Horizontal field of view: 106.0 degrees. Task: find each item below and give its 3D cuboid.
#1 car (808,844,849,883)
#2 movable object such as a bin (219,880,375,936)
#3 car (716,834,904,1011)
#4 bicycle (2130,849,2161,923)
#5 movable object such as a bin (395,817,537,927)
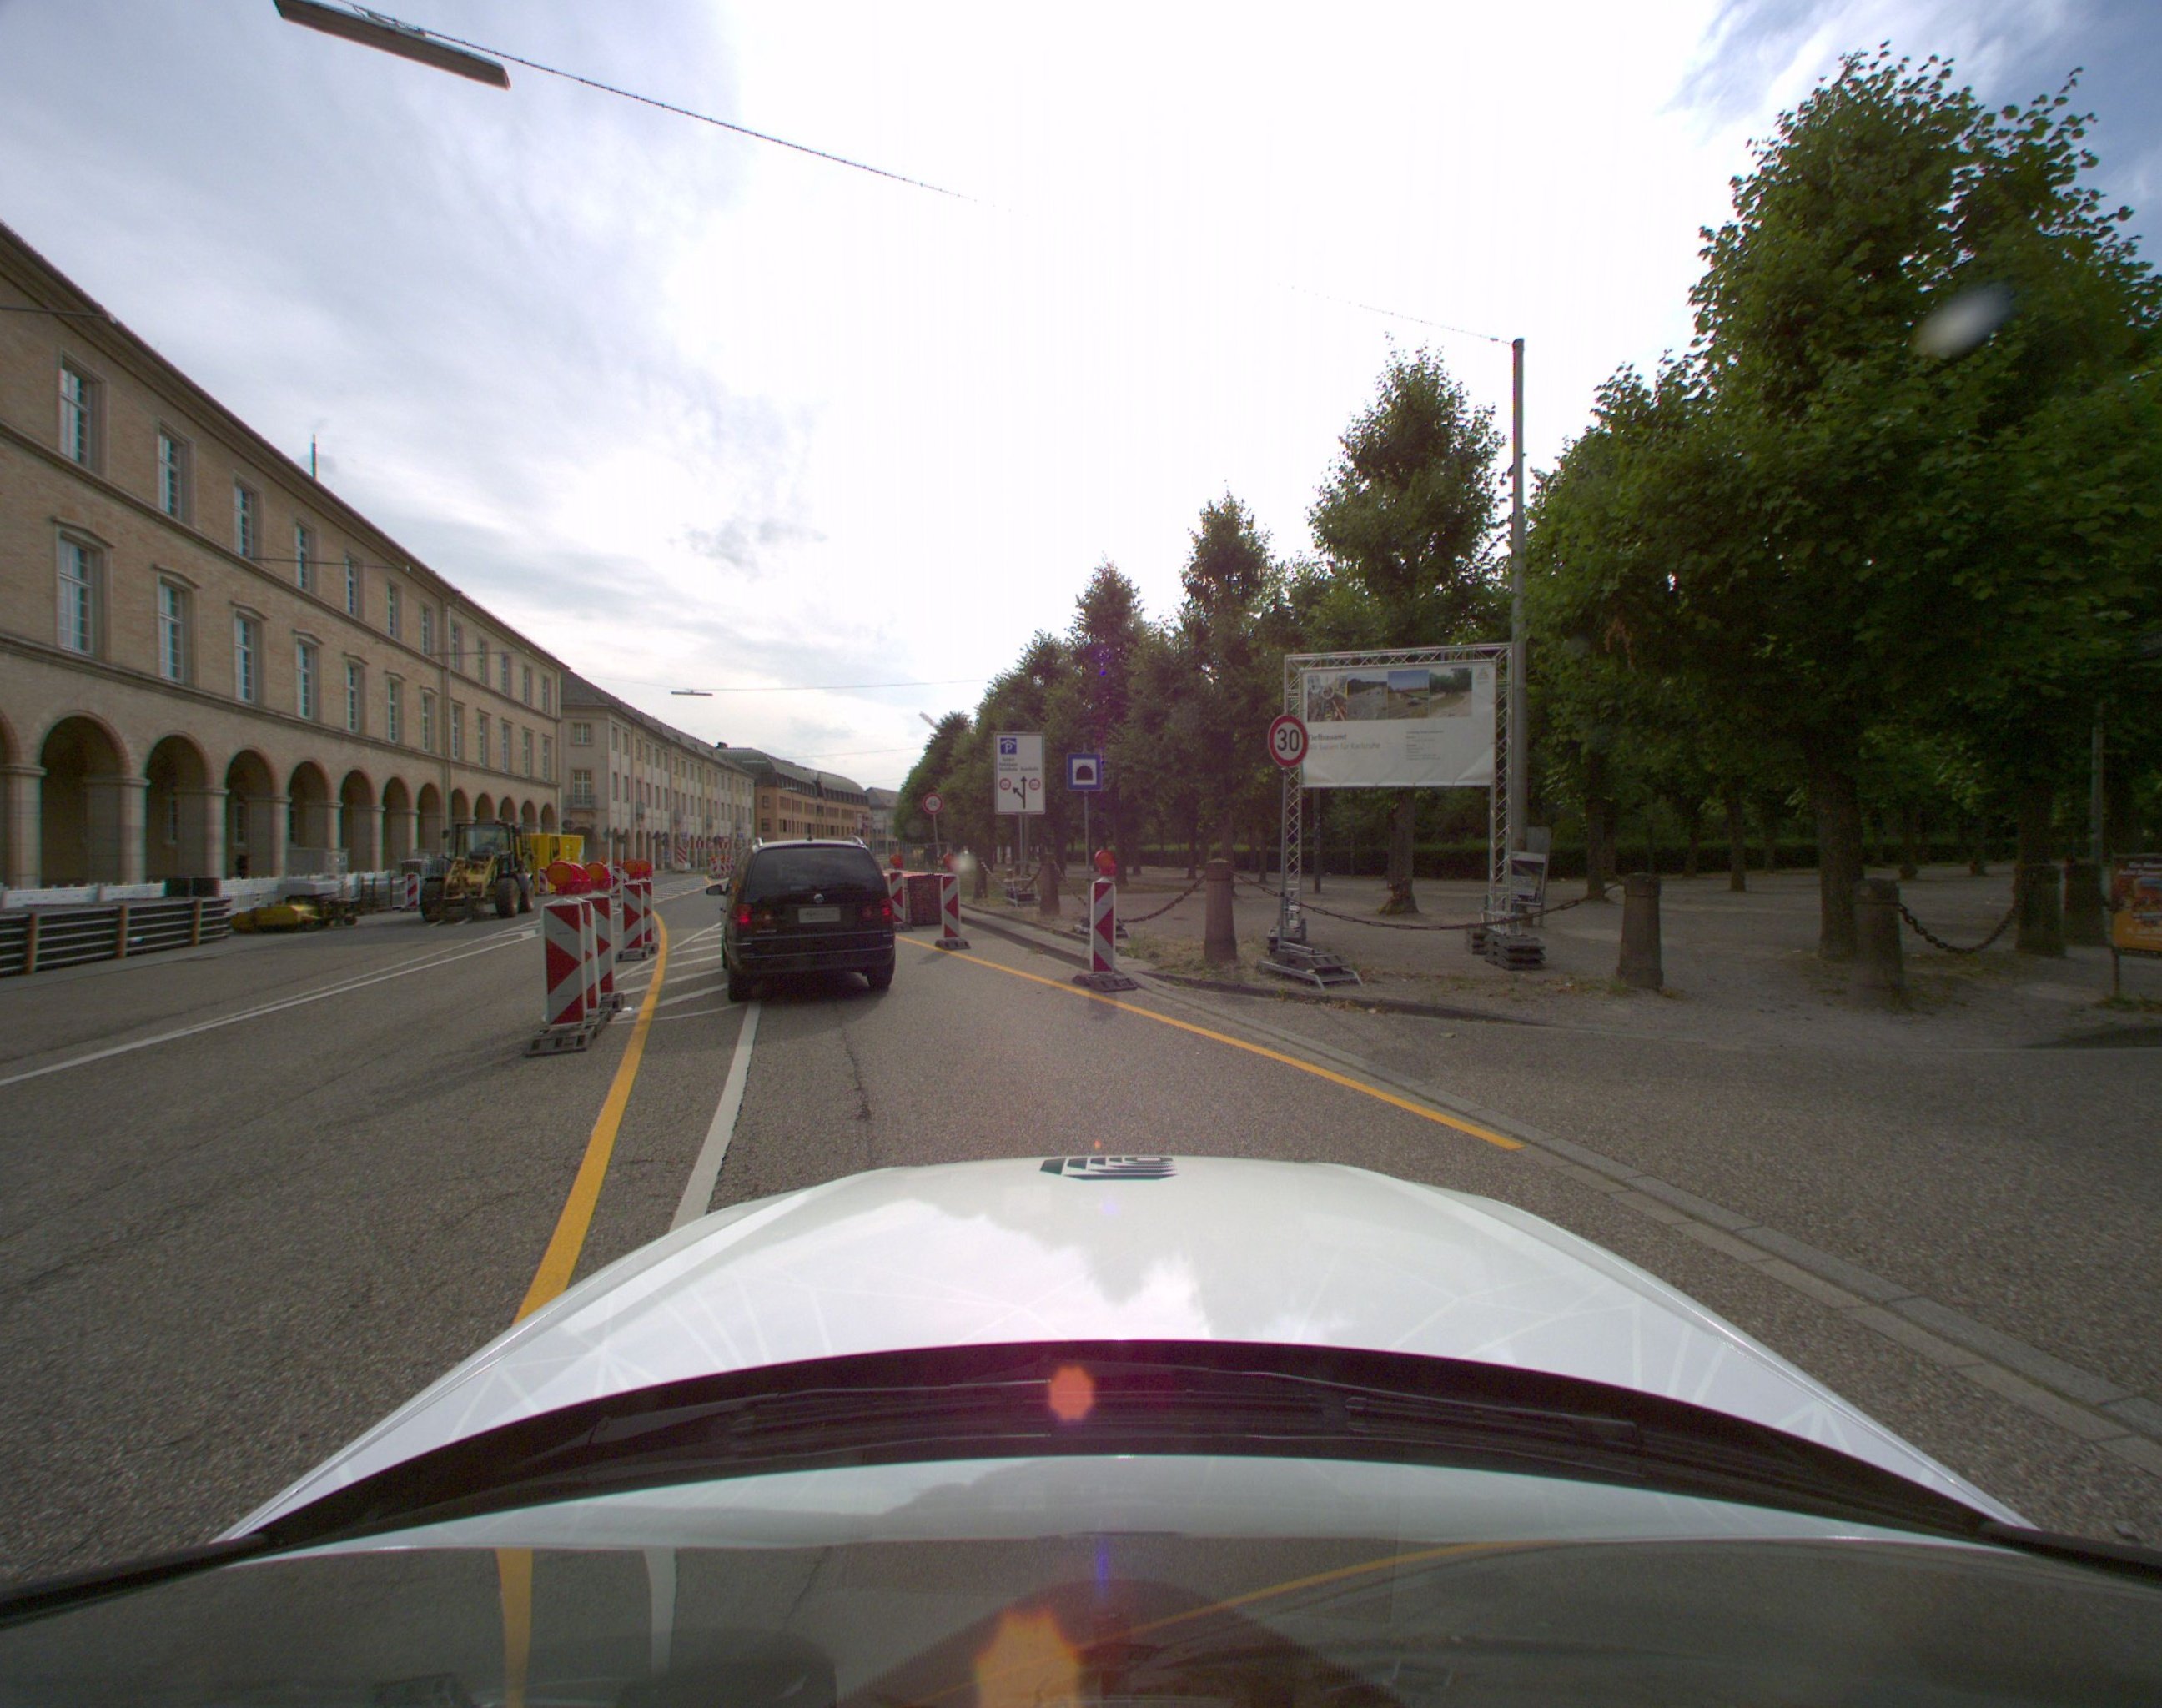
[{"bbox_3d":[-14.465,0.489,46.574,2.000,2.013,4.316,-1,2,-20],"label":"car"},{"bbox_3d":[-18.753,1.253,19.643,1.815,1.125,2.727,-1,0,-22],"label":"movable object such as a bin"},{"bbox_3d":[-3.556,0.653,10.178,1.802,1.708,4.098,-1,0,-24],"label":"car"},{"bbox_3d":[17.769,0.518,12.943,0.943,1.110,2.595,2,3,43],"label":"bicycle"},{"bbox_3d":[-16.900,0.432,22.669,2.125,2.718,4.582,-1,0,-24],"label":"movable object such as a bin"}]
